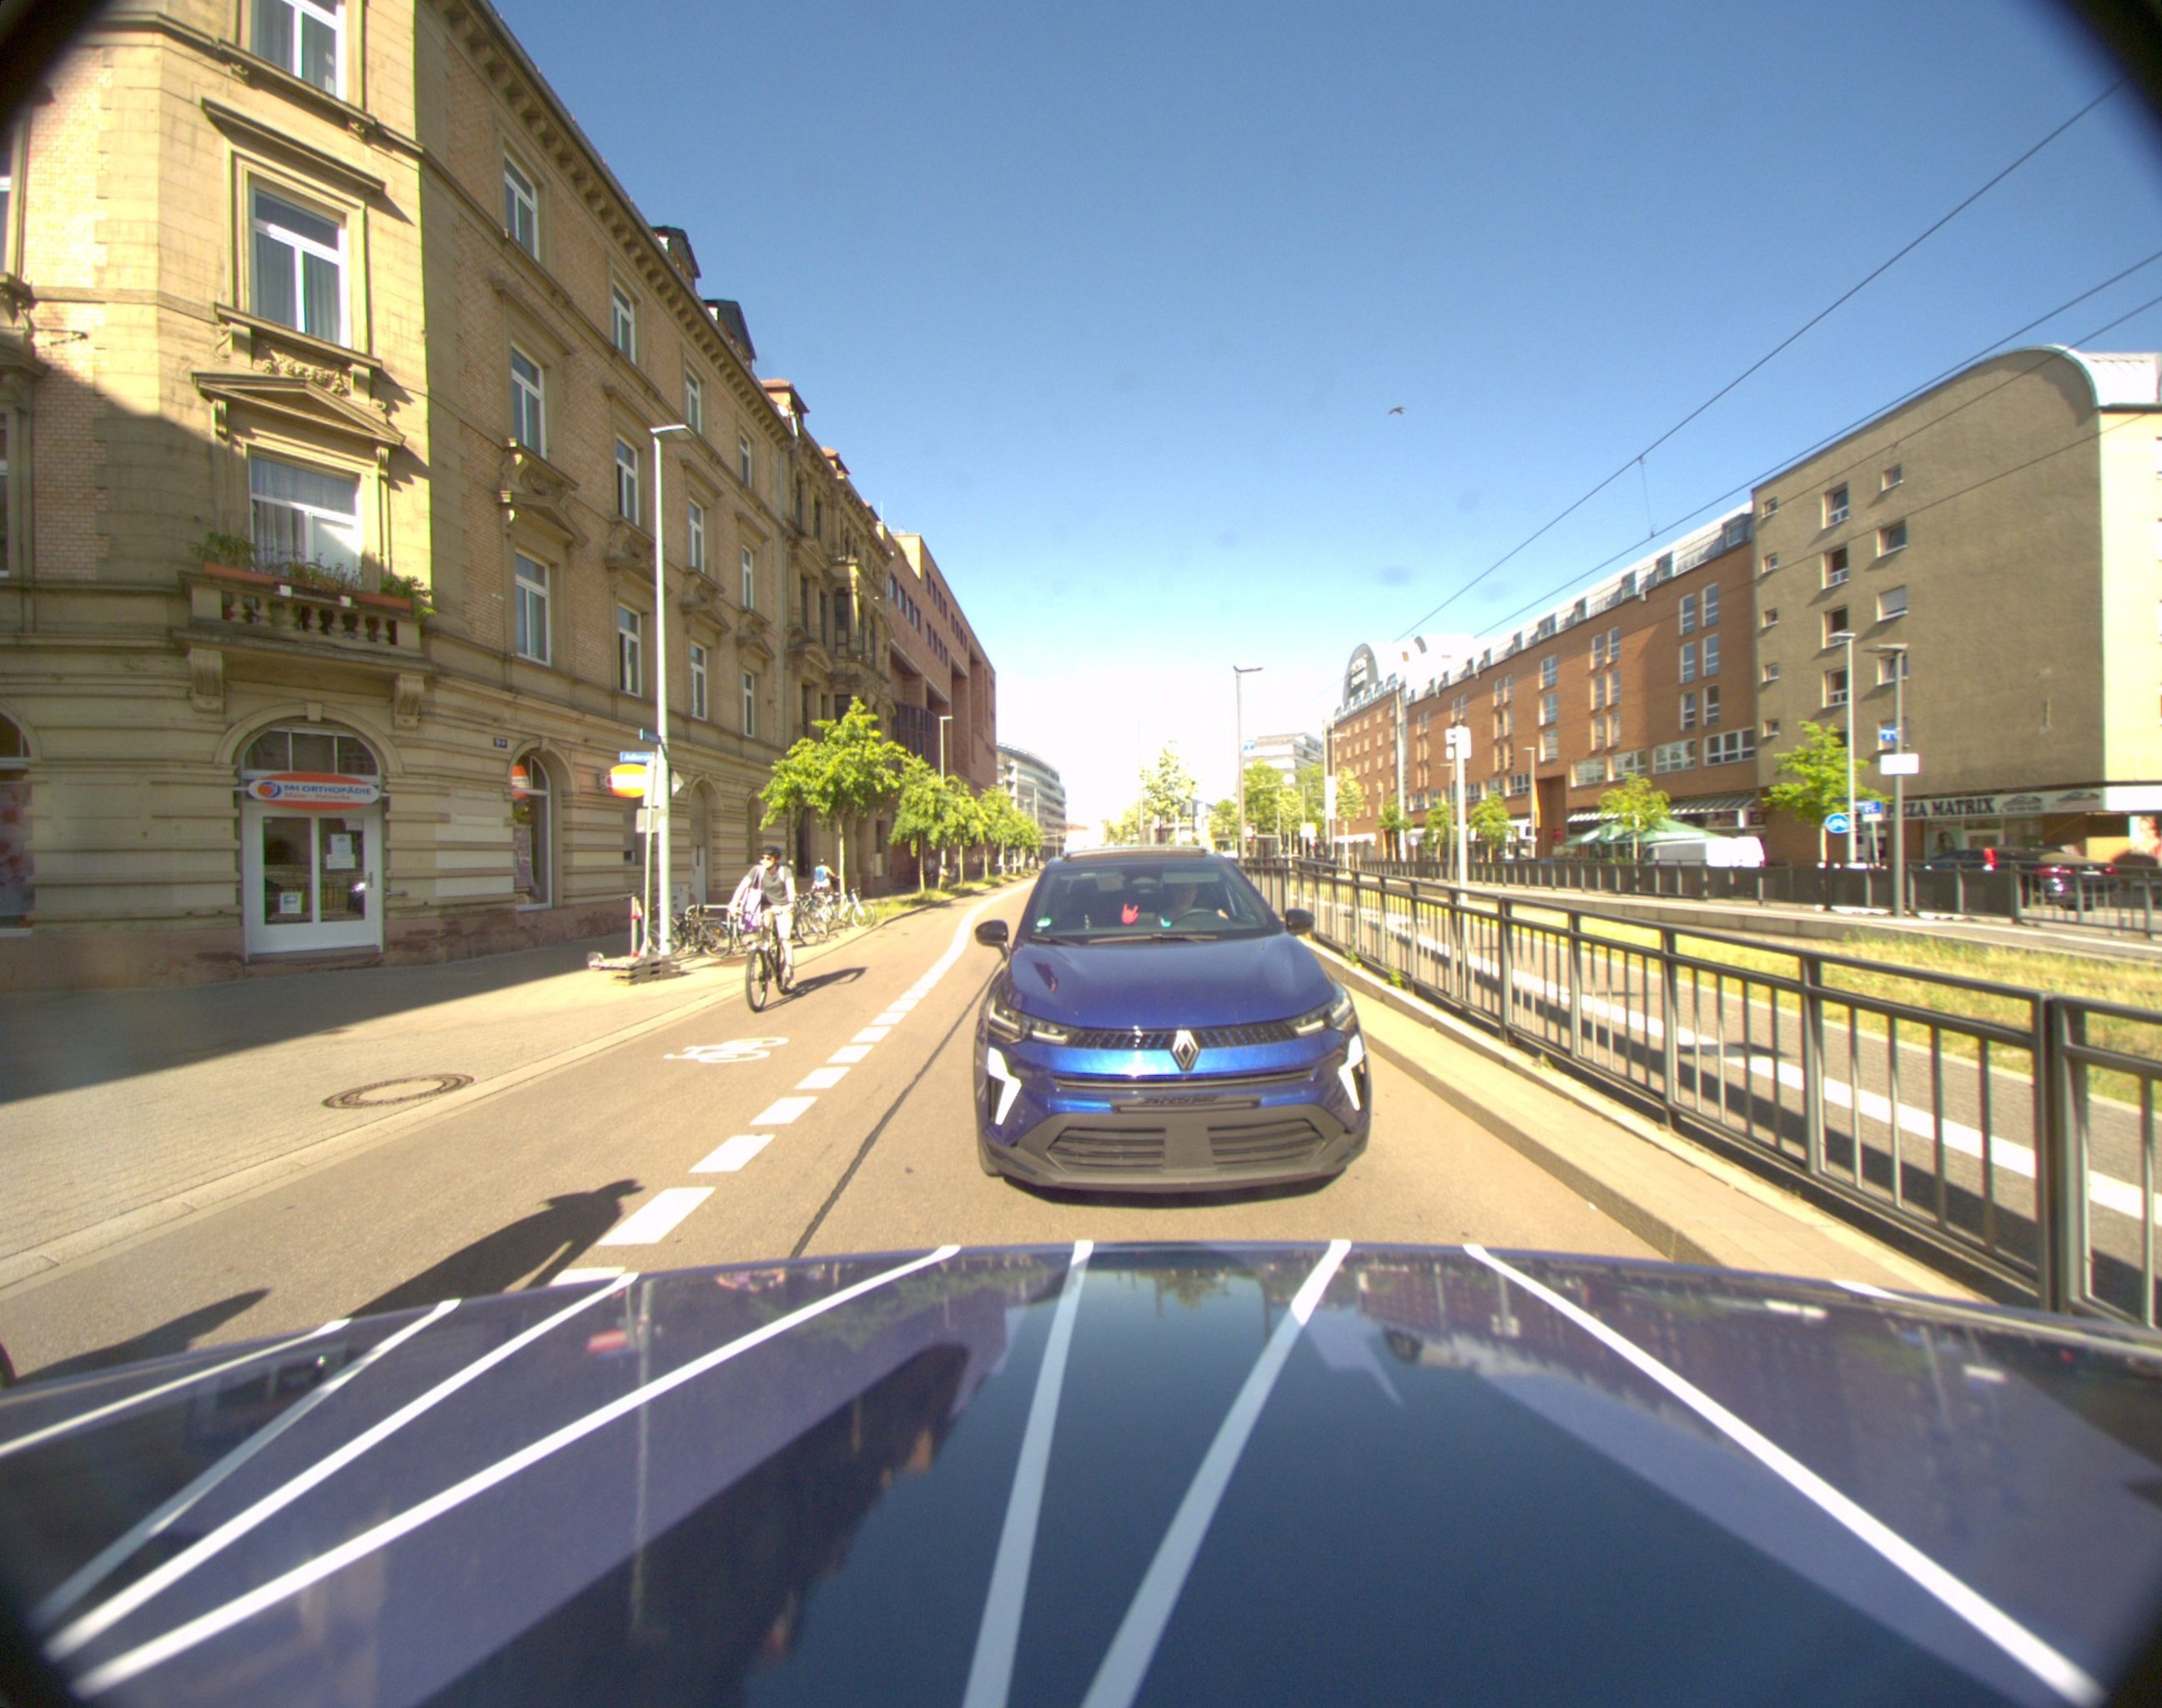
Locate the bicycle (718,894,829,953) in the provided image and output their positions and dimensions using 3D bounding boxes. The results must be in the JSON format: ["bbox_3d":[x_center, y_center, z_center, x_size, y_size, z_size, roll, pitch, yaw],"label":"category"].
[{"bbox_3d":[-5.936,1.337,14.728,1.876,1.043,0.608,1,1,-4],"label":"bicycle"}]

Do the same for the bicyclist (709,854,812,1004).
[{"bbox_3d":[-3.645,0.818,8.712,0.725,1.595,0.895,-2,1,1],"label":"bicyclist"}]

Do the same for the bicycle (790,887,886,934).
[{"bbox_3d":[-5.980,1.391,18.790,2.062,1.036,0.847,2,1,0],"label":"bicycle"}]

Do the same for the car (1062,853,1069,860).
[{"bbox_3d":[-3.839,0.658,189.648,1.745,1.543,4.000,-1,0,1],"label":"car"}]

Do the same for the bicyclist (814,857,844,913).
[{"bbox_3d":[-7.443,0.892,22.467,0.579,1.608,0.794,-1,1,-2],"label":"bicyclist"}]

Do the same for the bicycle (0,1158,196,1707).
[{"bbox_3d":[-2.475,1.259,0.866,0.725,1.000,1.951,-2,0,-6],"label":"bicycle"}]

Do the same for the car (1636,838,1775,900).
[{"bbox_3d":[25.340,0.516,31.115,1.997,2.283,5.191,-2,1,9],"label":"car"}]

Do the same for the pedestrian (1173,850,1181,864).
[{"bbox_3d":[13.187,0.402,104.315,0.743,1.878,0.600,-1,1,-28],"label":"pedestrian"}]

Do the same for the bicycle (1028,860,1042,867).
[{"bbox_3d":[-7.371,1.531,121.853,2.275,1.118,0.850,-2,0,-3],"label":"bicycle"}]

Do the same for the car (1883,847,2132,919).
[{"bbox_3d":[24.216,0.672,20.122,1.699,1.630,3.999,-2,1,-1],"label":"car"}]

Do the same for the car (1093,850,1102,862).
[{"bbox_3d":[3.472,0.506,159.046,1.758,2.471,4.610,0,0,1],"label":"car"}]

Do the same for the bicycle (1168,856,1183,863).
[{"bbox_3d":[13.492,0.742,108.403,2.044,1.013,0.646,-1,0,0],"label":"bicycle"}]

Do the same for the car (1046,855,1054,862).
[{"bbox_3d":[-7.044,1.077,174.288,1.745,1.543,4.000,-1,0,0],"label":"car"}]

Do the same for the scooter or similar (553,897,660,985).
[{"bbox_3d":[-6.849,1.248,11.001,1.199,1.191,0.487,-1,1,-4],"label":"scooter or similar"}]

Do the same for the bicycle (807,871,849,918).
[{"bbox_3d":[-7.447,1.180,22.486,0.579,1.246,2.097,-1,1,-2],"label":"bicycle"}]

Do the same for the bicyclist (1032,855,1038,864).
[{"bbox_3d":[-7.380,0.883,121.835,0.859,1.413,0.839,-2,1,-3],"label":"bicyclist"}]

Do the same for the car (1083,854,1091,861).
[{"bbox_3d":[1.331,0.780,172.319,1.745,1.543,4.000,-1,0,1],"label":"car"}]

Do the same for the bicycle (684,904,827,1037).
[{"bbox_3d":[-3.628,1.244,8.678,0.725,1.187,1.952,-2,0,1],"label":"bicycle"}]

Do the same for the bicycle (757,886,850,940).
[{"bbox_3d":[-6.309,1.327,17.387,1.678,1.055,1.134,3,1,-1],"label":"bicycle"}]

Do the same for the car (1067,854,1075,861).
[{"bbox_3d":[-2.191,0.900,173.713,1.745,1.543,4.000,-1,0,1],"label":"car"}]

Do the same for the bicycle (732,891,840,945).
[{"bbox_3d":[-6.270,1.354,16.242,1.903,1.024,1.030,1,1,-2],"label":"bicycle"}]

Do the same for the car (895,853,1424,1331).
[{"bbox_3d":[0.307,0.838,4.873,1.758,1.576,4.420,-4,0,1],"label":"car"}]

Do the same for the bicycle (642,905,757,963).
[{"bbox_3d":[-6.579,1.368,13.150,1.717,0.920,0.497,-1,1,1],"label":"bicycle"}]

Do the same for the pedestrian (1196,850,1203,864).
[{"bbox_3d":[15.804,0.440,101.485,0.821,1.878,0.769,-1,1,10],"label":"pedestrian"}]

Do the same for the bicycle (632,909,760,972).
[{"bbox_3d":[-6.330,1.407,12.517,1.905,0.906,0.592,1,2,9],"label":"bicycle"}]
